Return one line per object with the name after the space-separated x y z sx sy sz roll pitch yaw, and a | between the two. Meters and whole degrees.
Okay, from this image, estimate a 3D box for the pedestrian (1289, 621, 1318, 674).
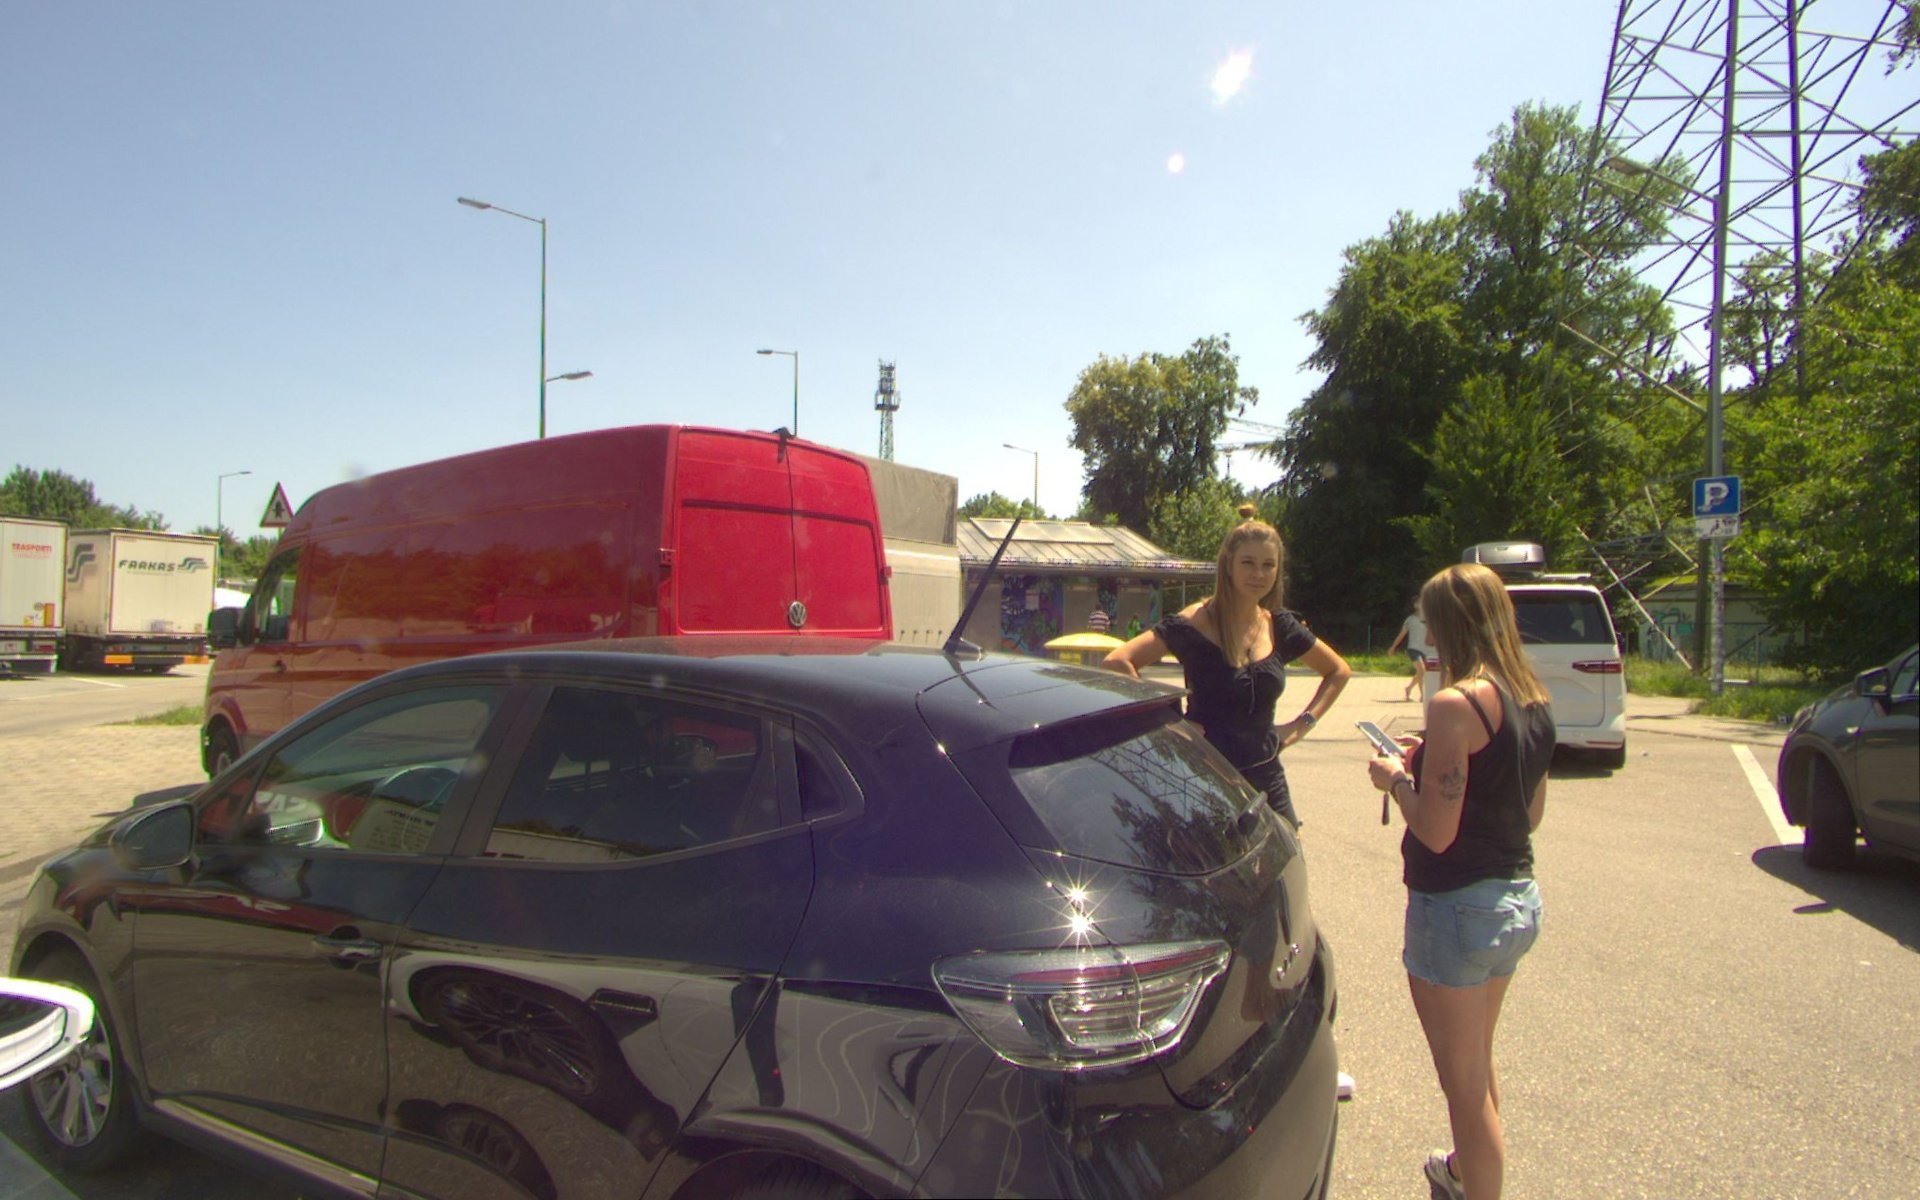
13.520 1.863 39.396 0.955 2.039 0.829 0 -1 10 | pedestrian

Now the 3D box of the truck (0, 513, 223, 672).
-27.101 -0.031 31.206 11.800 4.279 2.582 -1 -2 32 | truck

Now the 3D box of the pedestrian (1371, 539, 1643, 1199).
1.224 0.695 2.271 0.478 1.615 0.501 0 0 29 | pedestrian

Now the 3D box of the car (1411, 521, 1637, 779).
6.660 0.526 11.946 1.901 2.401 4.954 1 -1 29 | car

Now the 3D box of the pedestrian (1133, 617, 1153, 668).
4.983 1.152 27.309 0.439 1.362 0.477 0 0 23 | pedestrian

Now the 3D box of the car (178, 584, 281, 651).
-29.920 0.748 41.020 3.943 2.632 2.111 -1 -2 32 | car

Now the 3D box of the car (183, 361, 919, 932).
-3.390 0.244 7.356 6.298 2.668 1.988 0 -1 36 | car

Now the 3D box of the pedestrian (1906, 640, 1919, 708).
17.130 1.295 17.439 0.694 1.178 0.787 -1 -1 22 | pedestrian

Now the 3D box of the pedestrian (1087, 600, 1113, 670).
3.647 0.910 26.105 0.520 1.783 0.651 0 0 23 | pedestrian

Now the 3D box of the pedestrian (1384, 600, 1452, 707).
8.349 0.964 18.274 0.762 1.903 0.840 0 -1 -11 | pedestrian

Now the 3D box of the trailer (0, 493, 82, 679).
-28.591 -0.347 27.866 12.642 4.511 2.677 0 -1 32 | trailer

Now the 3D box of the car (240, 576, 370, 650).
-29.449 0.594 44.937 6.259 3.114 2.495 0 -1 32 | car

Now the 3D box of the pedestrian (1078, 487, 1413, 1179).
0.890 0.645 3.138 0.898 1.884 0.485 1 0 -25 | pedestrian

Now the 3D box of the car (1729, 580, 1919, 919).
5.482 0.727 4.454 1.805 1.638 4.164 1 -1 15 | car

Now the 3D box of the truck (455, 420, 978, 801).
-2.478 0.165 9.916 4.751 2.863 2.514 -1 -2 34 | truck

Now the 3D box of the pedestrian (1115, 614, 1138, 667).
4.638 1.121 27.866 0.521 1.478 0.576 0 0 23 | pedestrian

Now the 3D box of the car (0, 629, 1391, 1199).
-0.836 0.834 2.791 3.629 1.476 1.776 -1 -2 28 | car
